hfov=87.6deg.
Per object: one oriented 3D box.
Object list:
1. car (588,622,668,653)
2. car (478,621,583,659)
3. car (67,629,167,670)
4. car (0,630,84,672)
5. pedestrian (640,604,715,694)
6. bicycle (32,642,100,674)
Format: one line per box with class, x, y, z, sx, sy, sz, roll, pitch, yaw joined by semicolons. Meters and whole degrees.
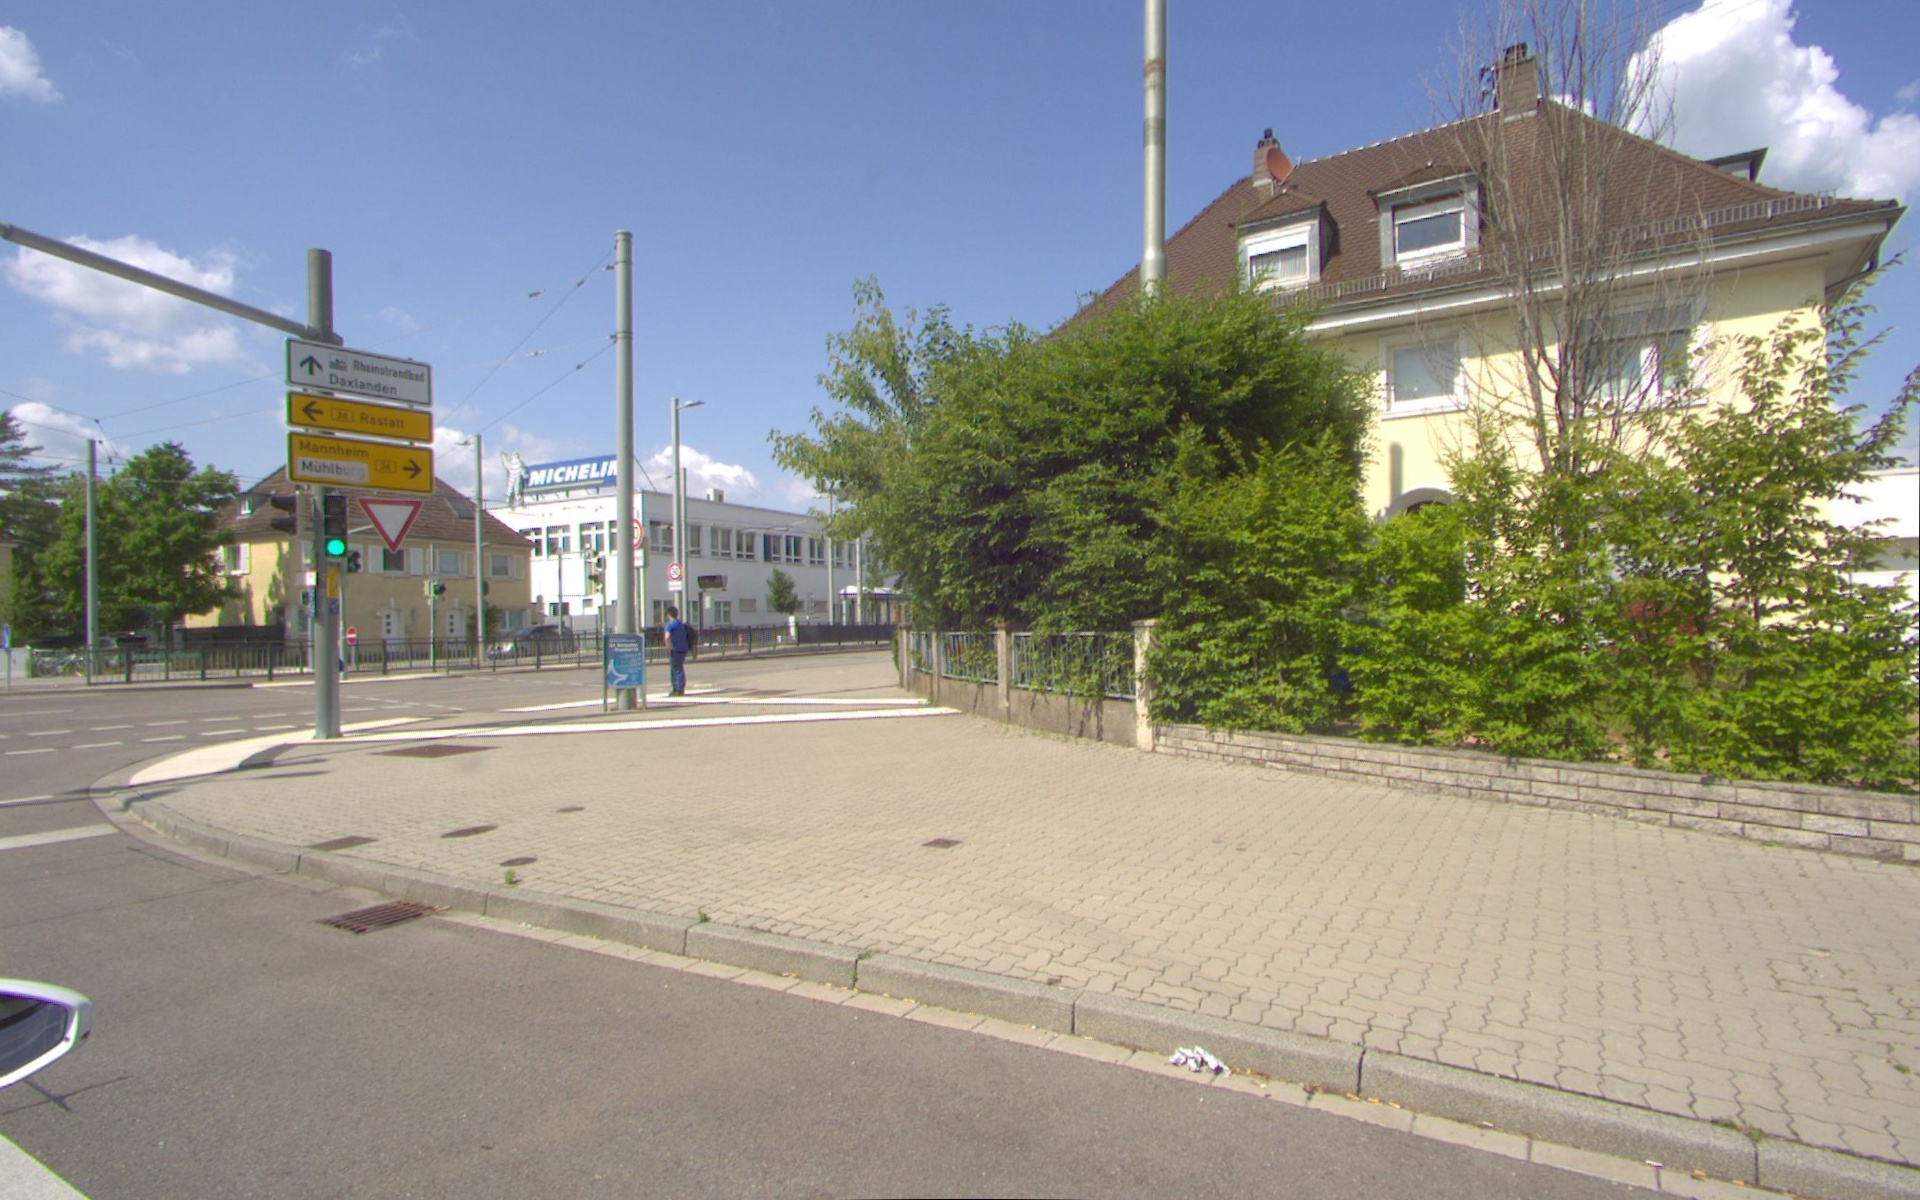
car;-16.458;1.855;49.763;1.553;1.465;3.705;-1;-1;30
car;-18.956;1.749;44.305;1.815;1.588;3.981;-1;-1;30
car;-37.566;2.195;44.616;3.934;1.641;1.823;-3;-2;23
car;-39.360;2.167;42.429;3.934;1.641;1.823;-3;-2;23
pedestrian;-5.654;0.966;20.084;1.025;1.757;1.028;-1;0;29
bicycle;-33.917;2.193;37.997;1.777;1.119;0.701;-1;-1;-19
